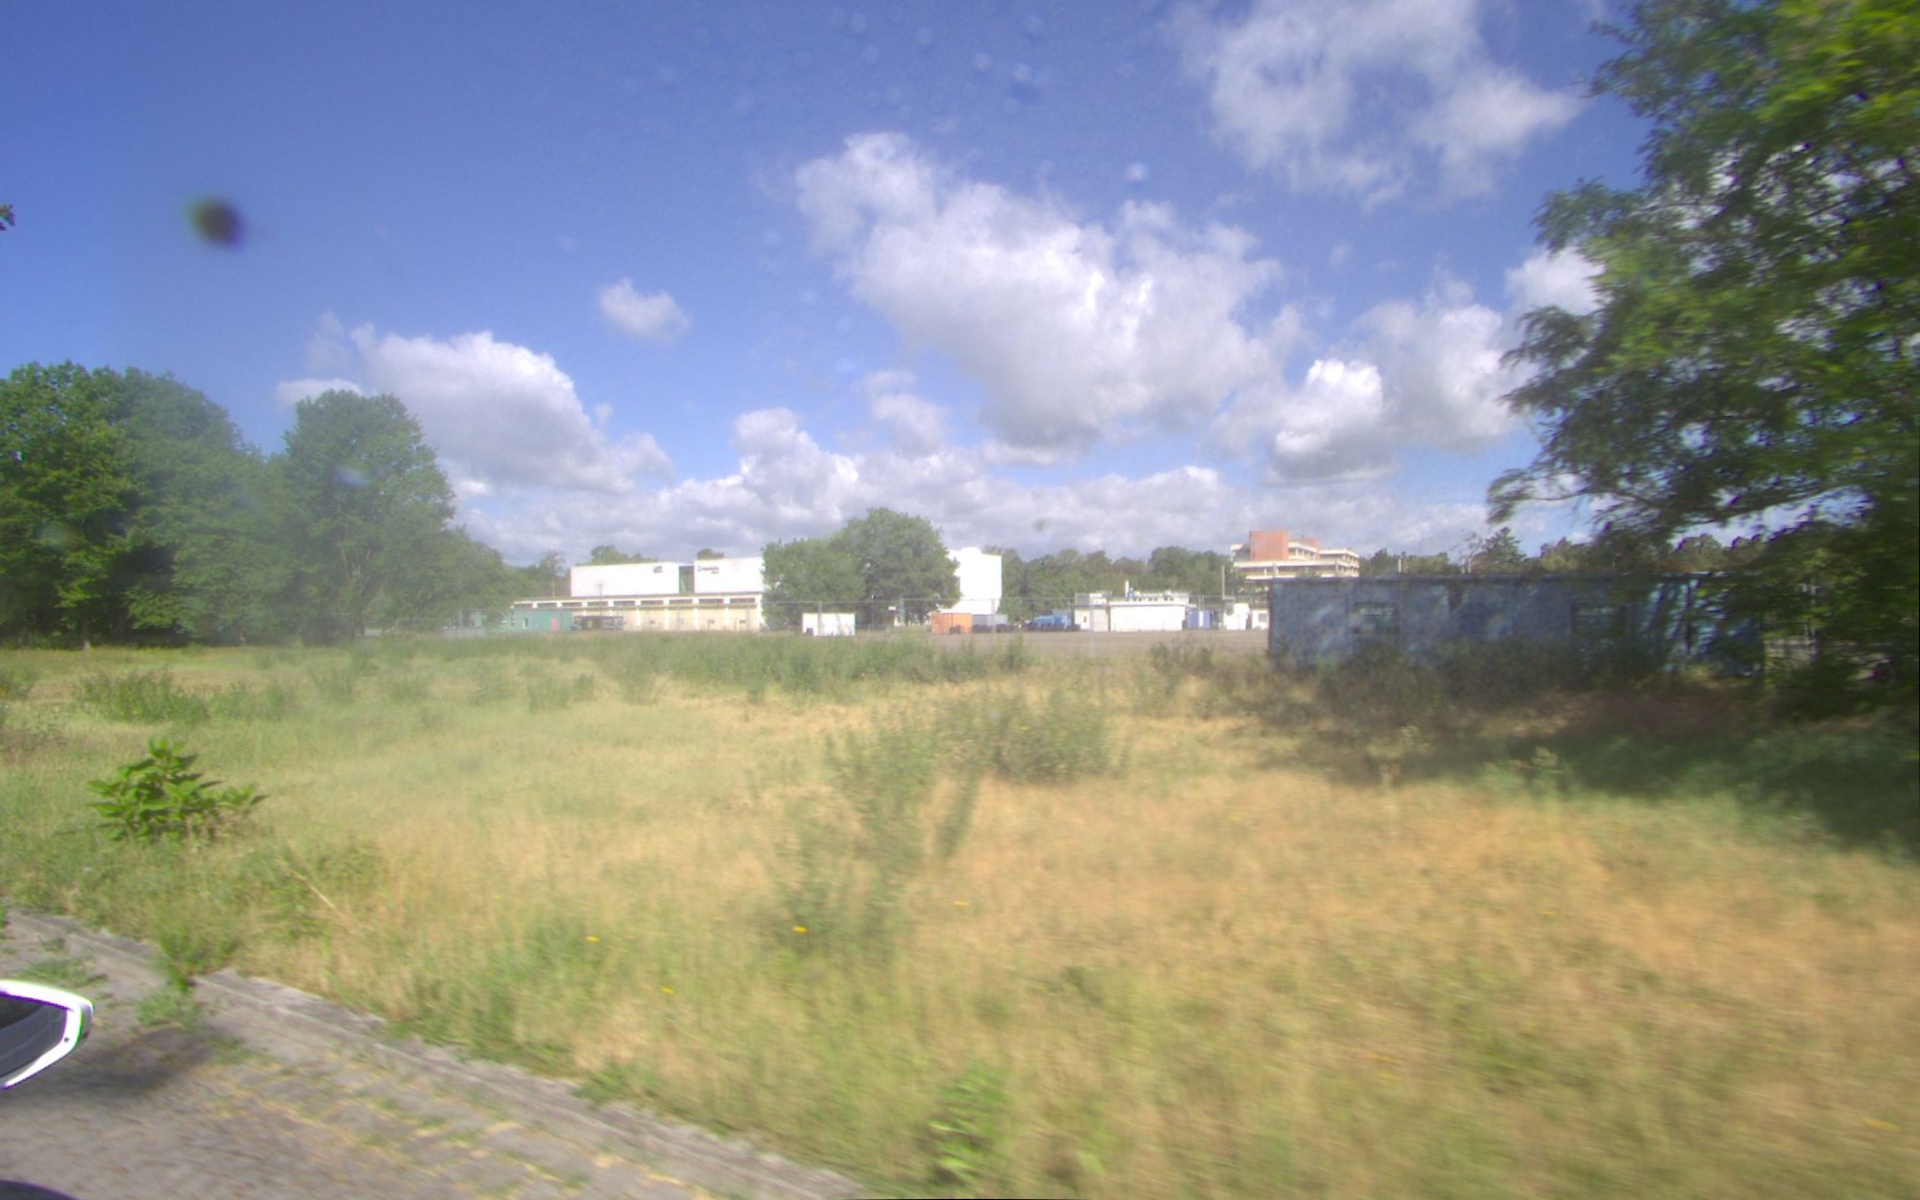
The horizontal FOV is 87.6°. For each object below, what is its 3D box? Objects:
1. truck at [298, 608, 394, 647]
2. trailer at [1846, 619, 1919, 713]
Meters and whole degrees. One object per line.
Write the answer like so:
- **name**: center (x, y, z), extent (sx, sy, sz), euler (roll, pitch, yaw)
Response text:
- **truck**: center (-39.539, 1.795, 64.462), extent (6.782, 2.454, 2.232), euler (-1, -2, 29)
- **trailer**: center (12.393, 0.825, 12.774), extent (1.019, 1.119, 2.399), euler (-1, -2, 26)
